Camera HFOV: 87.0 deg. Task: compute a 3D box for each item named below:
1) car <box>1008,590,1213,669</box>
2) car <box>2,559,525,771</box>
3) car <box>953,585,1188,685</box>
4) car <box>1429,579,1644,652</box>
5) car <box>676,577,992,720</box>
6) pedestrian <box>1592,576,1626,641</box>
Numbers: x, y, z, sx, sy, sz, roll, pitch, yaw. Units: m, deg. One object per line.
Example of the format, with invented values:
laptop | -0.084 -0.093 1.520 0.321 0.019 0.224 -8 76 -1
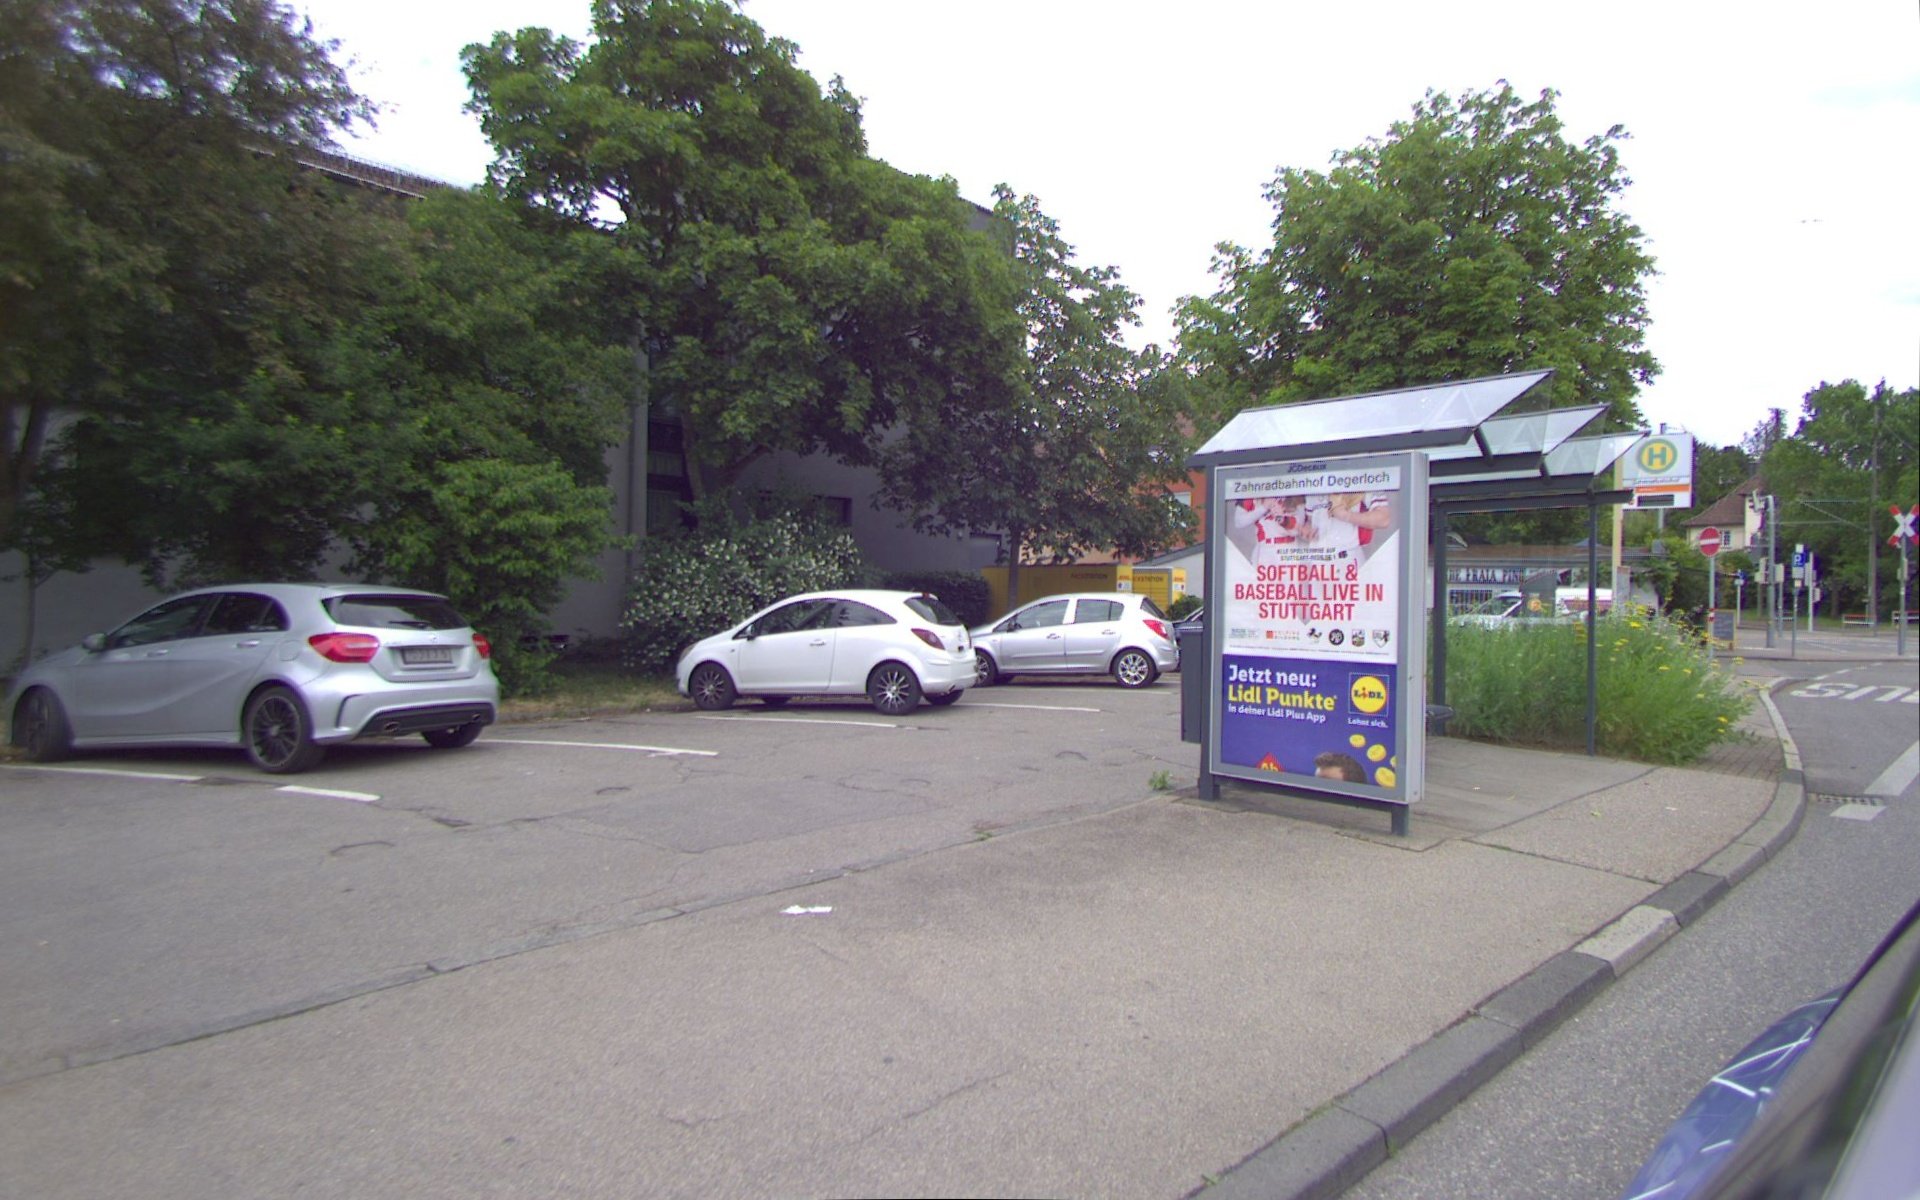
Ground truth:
car | 3.124 0.550 20.794 3.945 1.496 1.870 0 0 17
car | -5.850 0.496 8.580 3.754 1.492 1.787 -2 0 19
car | 1.785 0.524 16.149 3.471 1.395 1.538 2 -1 19
car | 15.039 0.385 26.553 4.602 1.770 1.853 1 0 -4
car | -1.567 0.512 12.637 3.608 1.452 1.580 2 3 22
pedestrian | 19.358 0.241 30.204 0.678 1.881 0.619 3 0 21
